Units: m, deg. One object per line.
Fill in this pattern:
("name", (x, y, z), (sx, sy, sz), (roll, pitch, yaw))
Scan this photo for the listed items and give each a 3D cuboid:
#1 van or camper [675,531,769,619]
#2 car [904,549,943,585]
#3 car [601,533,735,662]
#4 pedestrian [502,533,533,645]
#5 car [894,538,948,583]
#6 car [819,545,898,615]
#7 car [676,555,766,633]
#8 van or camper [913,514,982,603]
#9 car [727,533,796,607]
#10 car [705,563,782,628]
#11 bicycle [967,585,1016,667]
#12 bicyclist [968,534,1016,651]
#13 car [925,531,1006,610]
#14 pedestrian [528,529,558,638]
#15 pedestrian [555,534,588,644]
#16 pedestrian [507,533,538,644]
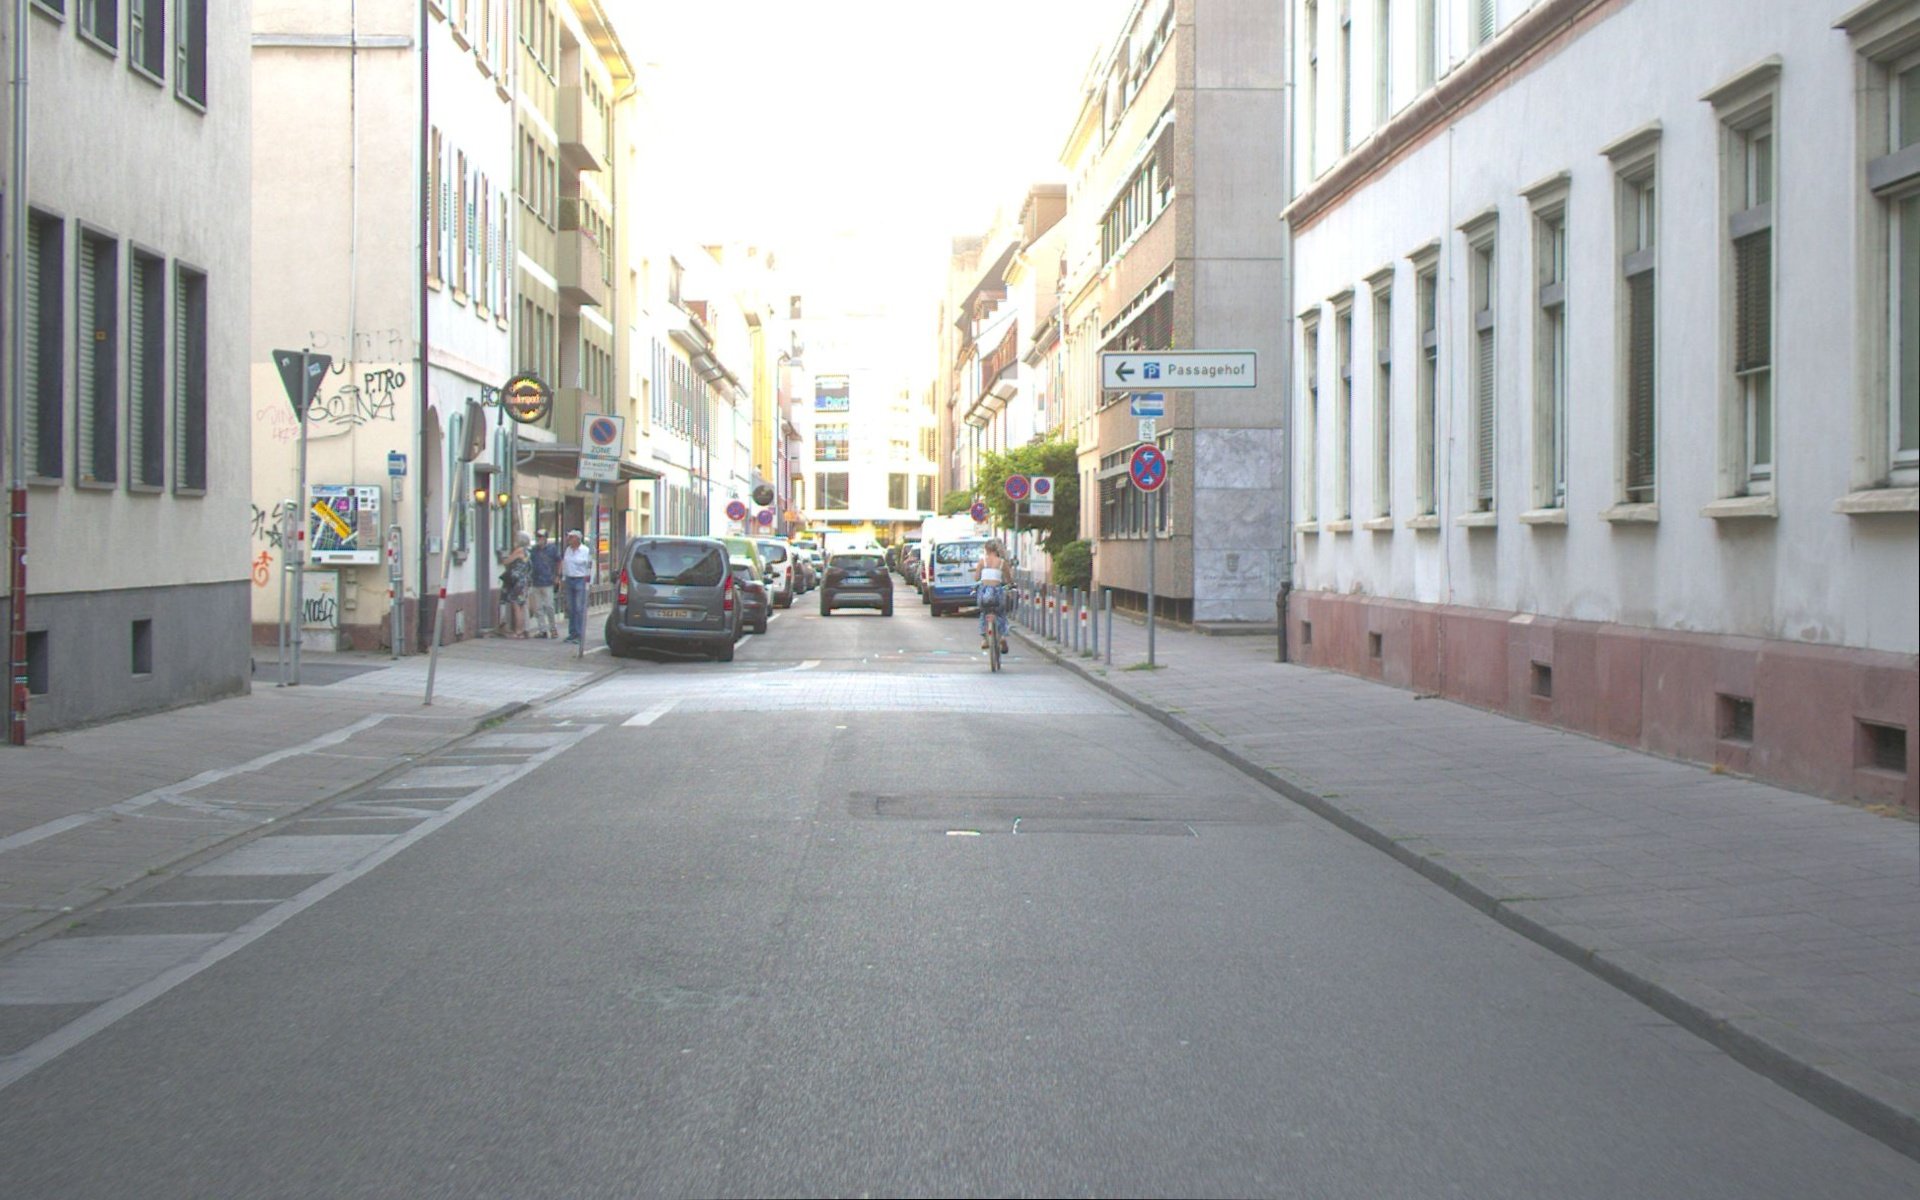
("van or camper", (-5.110, -0.553, 74.317), (1.772, 1.842, 4.178), (0, 1, 0))
("car", (-1.664, -1.485, 155.242), (1.653, 1.555, 3.606), (2, 1, -1))
("car", (-4.347, -0.066, 51.461), (1.876, 1.805, 4.451), (1, 1, -4))
("pedestrian", (-6.945, -0.175, 53.988), (0.406, 1.744, 0.470), (1, 0, 0))
("car", (-1.405, -1.424, 124.778), (1.819, 1.525, 5.071), (-3, 1, 0))
("car", (-2.464, -0.494, 83.030), (1.819, 1.612, 4.000), (2, 1, -2))
("car", (-4.584, -0.132, 66.277), (1.624, 1.411, 3.981), (1, 0, -3))
("van or camper", (-0.403, -1.272, 105.294), (2.050, 2.628, 7.063), (0, 1, 0))
("car", (-5.549, -0.854, 96.444), (1.862, 2.007, 5.107), (0, 1, -3))
("car", (-5.257, -0.123, 83.715), (1.662, 1.444, 3.521), (4, 0, -2))
("bicycle", (0.423, 0.339, 46.824), (0.613, 1.078, 1.809), (1, 1, 0))
("bicyclist", (0.431, -0.102, 46.742), (0.621, 1.569, 0.683), (1, 0, 0))
("car", (0.109, -0.754, 85.362), (1.936, 1.891, 5.277), (0, 1, -1))
("pedestrian", (-6.731, -0.269, 55.529), (0.406, 1.744, 0.470), (1, 0, 0))
("pedestrian", (-6.219, -0.176, 55.080), (0.449, 1.744, 0.470), (1, 0, 0))
("pedestrian", (-6.939, -0.180, 54.490), (0.406, 1.744, 0.470), (1, 0, 0))
